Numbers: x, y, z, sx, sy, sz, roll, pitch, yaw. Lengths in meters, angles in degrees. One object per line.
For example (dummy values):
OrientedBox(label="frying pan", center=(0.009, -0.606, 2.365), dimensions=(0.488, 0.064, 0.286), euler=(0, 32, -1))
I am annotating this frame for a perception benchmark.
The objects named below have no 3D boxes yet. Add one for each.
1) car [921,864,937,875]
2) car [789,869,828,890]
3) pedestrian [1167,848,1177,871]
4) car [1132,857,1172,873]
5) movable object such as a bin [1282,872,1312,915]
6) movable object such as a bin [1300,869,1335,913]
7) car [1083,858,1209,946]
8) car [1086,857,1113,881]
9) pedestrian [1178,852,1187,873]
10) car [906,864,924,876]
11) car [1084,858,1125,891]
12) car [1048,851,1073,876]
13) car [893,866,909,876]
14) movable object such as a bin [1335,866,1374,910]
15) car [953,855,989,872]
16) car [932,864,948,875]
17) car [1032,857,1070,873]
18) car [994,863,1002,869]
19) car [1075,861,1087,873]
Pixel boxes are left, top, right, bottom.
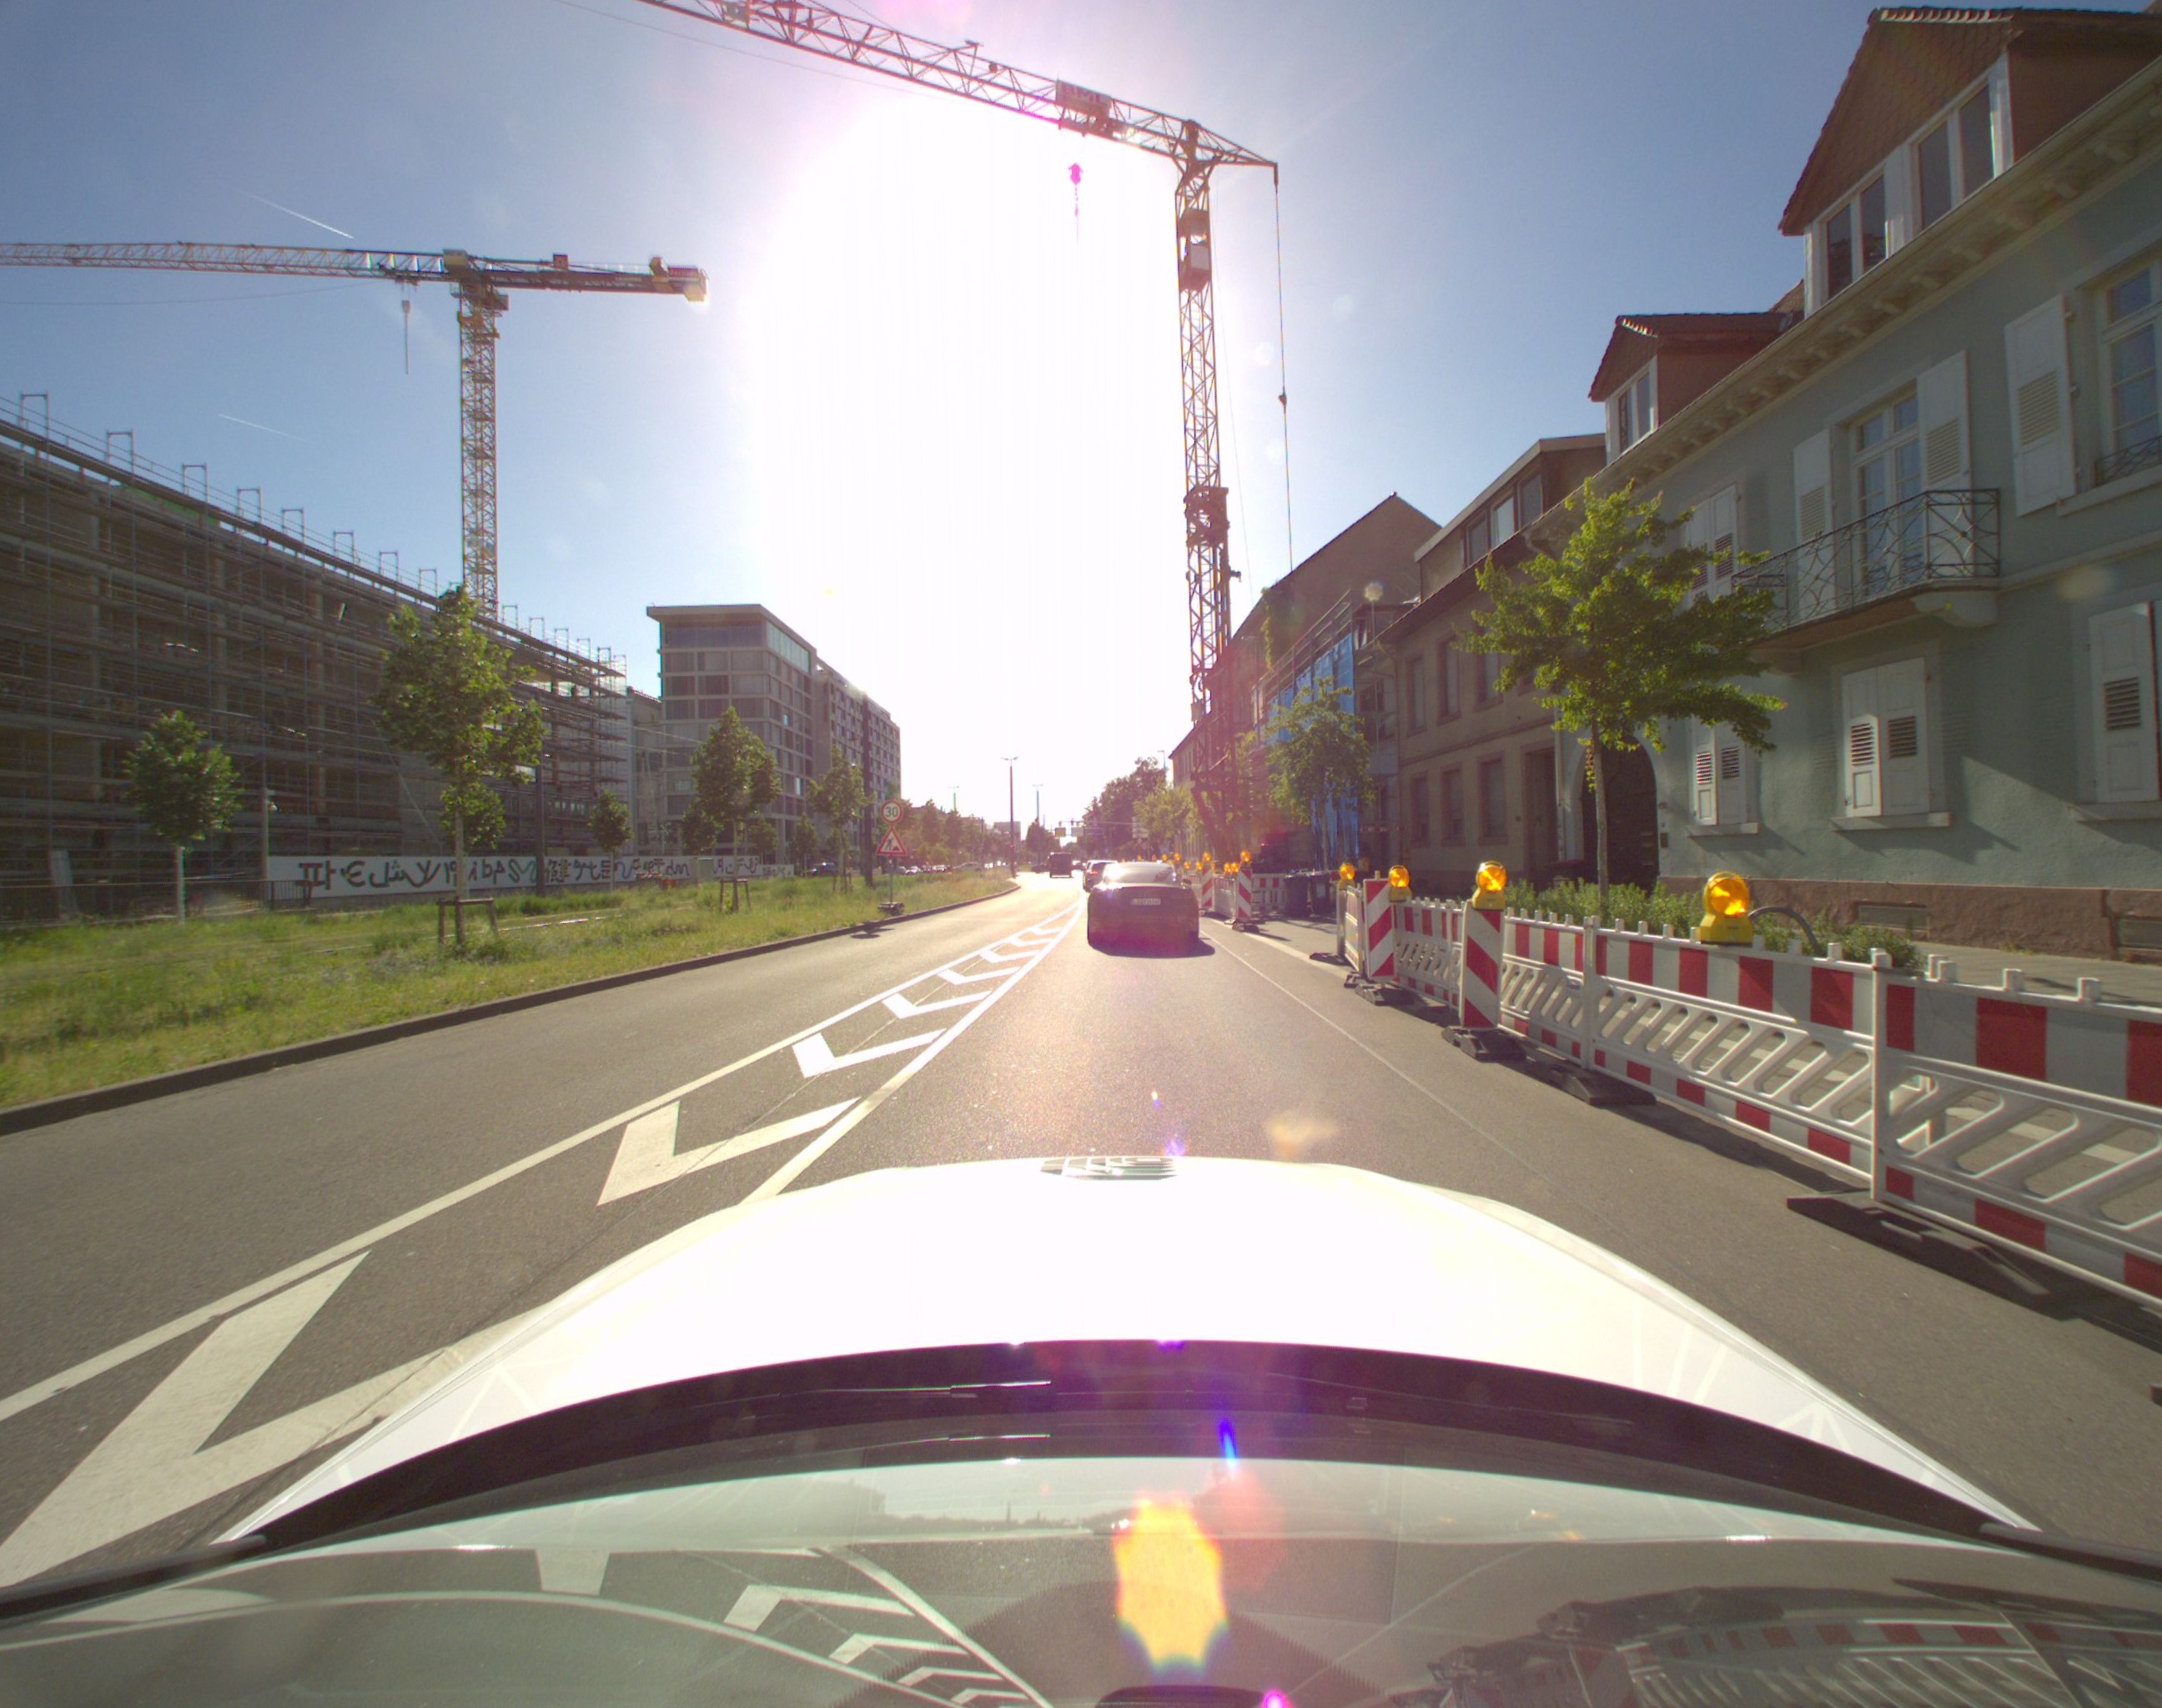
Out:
OrientedBox(label="car", center=(-23.461, 2.411, 125.805), dimensions=(1.784, 1.651, 4.000), euler=(-2, 0, 0))
OrientedBox(label="car", center=(-28.466, 2.653, 85.180), dimensions=(1.896, 1.918, 4.342), euler=(-2, 0, 11))
OrientedBox(label="pedestrian", center=(8.060, 0.468, 71.805), dimensions=(0.656, 1.913, 0.587), euler=(-5, 0, -1))
OrientedBox(label="car", center=(8.614, 1.368, 98.855), dimensions=(4.476, 1.792, 2.009), euler=(-2, 0, 18))
OrientedBox(label="movable object such as a bin", center=(5.568, 1.004, 21.031), dimensions=(0.586, 1.058, 0.730), euler=(-1, 0, 0))
OrientedBox(label="movable object such as a bin", center=(6.163, 0.946, 21.239), dimensions=(0.593, 1.057, 0.730), euler=(-6, 0, 0))
OrientedBox(label="car", center=(1.093, 0.810, 15.877), dimensions=(2.045, 1.444, 4.522), euler=(-1, 0, -1))
OrientedBox(label="car", center=(1.221, 0.998, 55.019), dimensions=(1.744, 1.527, 4.004), euler=(-1, 0, 0))
OrientedBox(label="pedestrian", center=(8.966, 0.763, 71.876), dimensions=(0.561, 1.821, 0.587), euler=(-5, 0, -1))
OrientedBox(label="car", center=(-26.083, 2.507, 128.031), dimensions=(1.784, 1.651, 4.000), euler=(-2, 0, 0))
OrientedBox(label="car", center=(1.069, 0.906, 38.625), dimensions=(1.742, 1.427, 4.836), euler=(-1, 0, -1))
OrientedBox(label="car", center=(-1.846, 0.834, 74.386), dimensions=(2.212, 2.267, 4.481), euler=(-1, 0, -1))
OrientedBox(label="car", center=(-31.489, 2.915, 142.315), dimensions=(1.784, 1.651, 4.000), euler=(-2, 0, 0))
OrientedBox(label="movable object such as a bin", center=(7.075, 0.863, 21.095), dimensions=(0.587, 1.057, 0.782), euler=(-6, 0, -5))
OrientedBox(label="car", center=(-13.305, 1.160, 98.349), dimensions=(3.980, 1.918, 1.905), euler=(-2, 0, -16))
OrientedBox(label="car", center=(-23.158, 2.529, 134.021), dimensions=(1.784, 1.651, 4.000), euler=(-2, 0, 0))
OrientedBox(label="car", center=(-3.651, 1.363, 100.597), dimensions=(4.497, 1.792, 2.000), euler=(-2, 0, 0))
OrientedBox(label="car", center=(-24.486, 3.402, 239.743), dimensions=(1.802, 1.651, 4.000), euler=(-2, 0, 0))
OrientedBox(label="car", center=(-0.068, 2.015, 130.887), dimensions=(1.787, 1.873, 3.847), euler=(-1, -1, -2))
